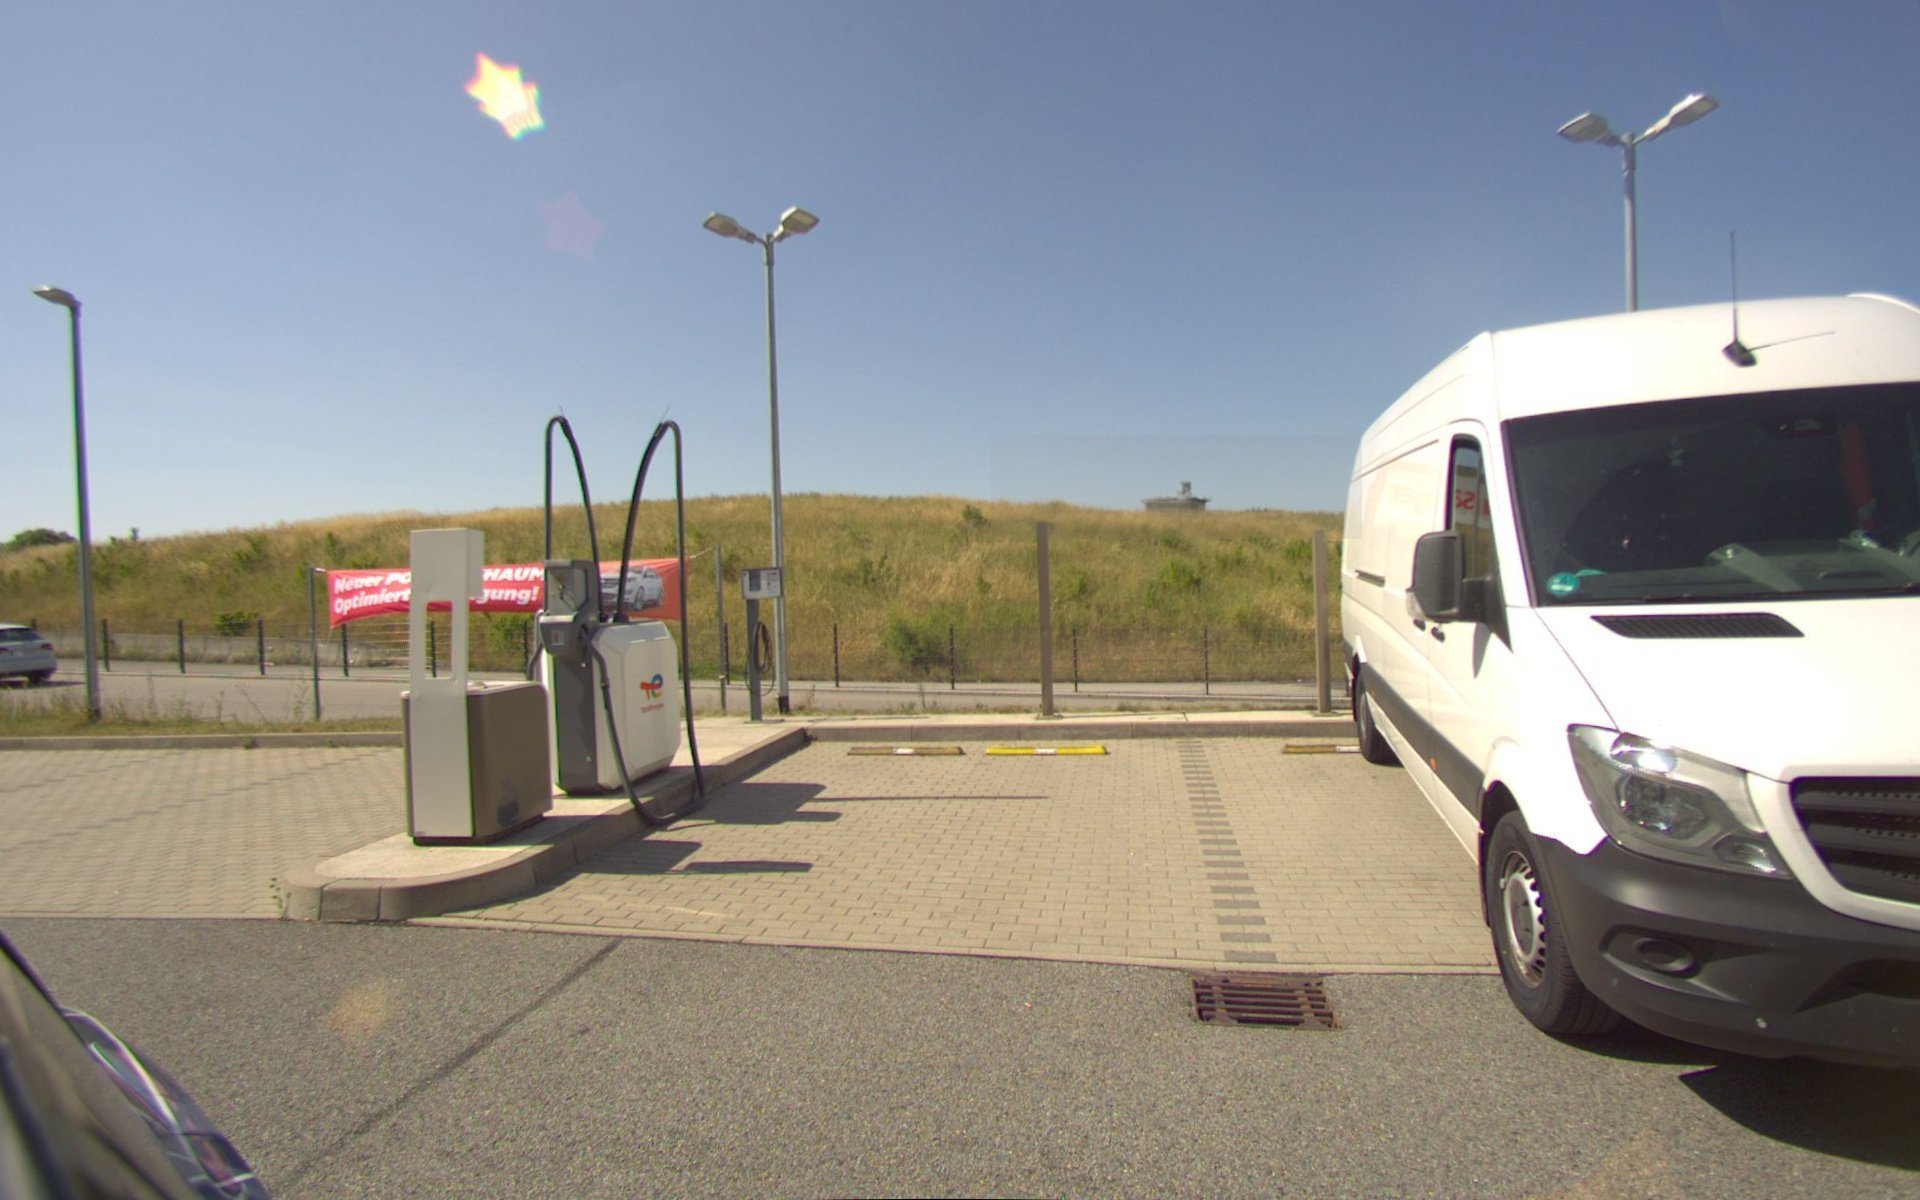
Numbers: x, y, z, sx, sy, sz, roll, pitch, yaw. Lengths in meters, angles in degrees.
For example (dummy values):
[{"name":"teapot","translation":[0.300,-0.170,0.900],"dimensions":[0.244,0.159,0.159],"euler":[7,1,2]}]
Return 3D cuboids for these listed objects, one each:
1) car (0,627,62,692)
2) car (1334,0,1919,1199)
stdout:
[{"name":"car","translation":[-23.460,1.363,23.610],"dimensions":[4.053,1.434,1.701],"euler":[0,0,12]},{"name":"car","translation":[3.378,-0.176,5.347],"dimensions":[1.982,2.590,6.996],"euler":[-2,2,16]}]
